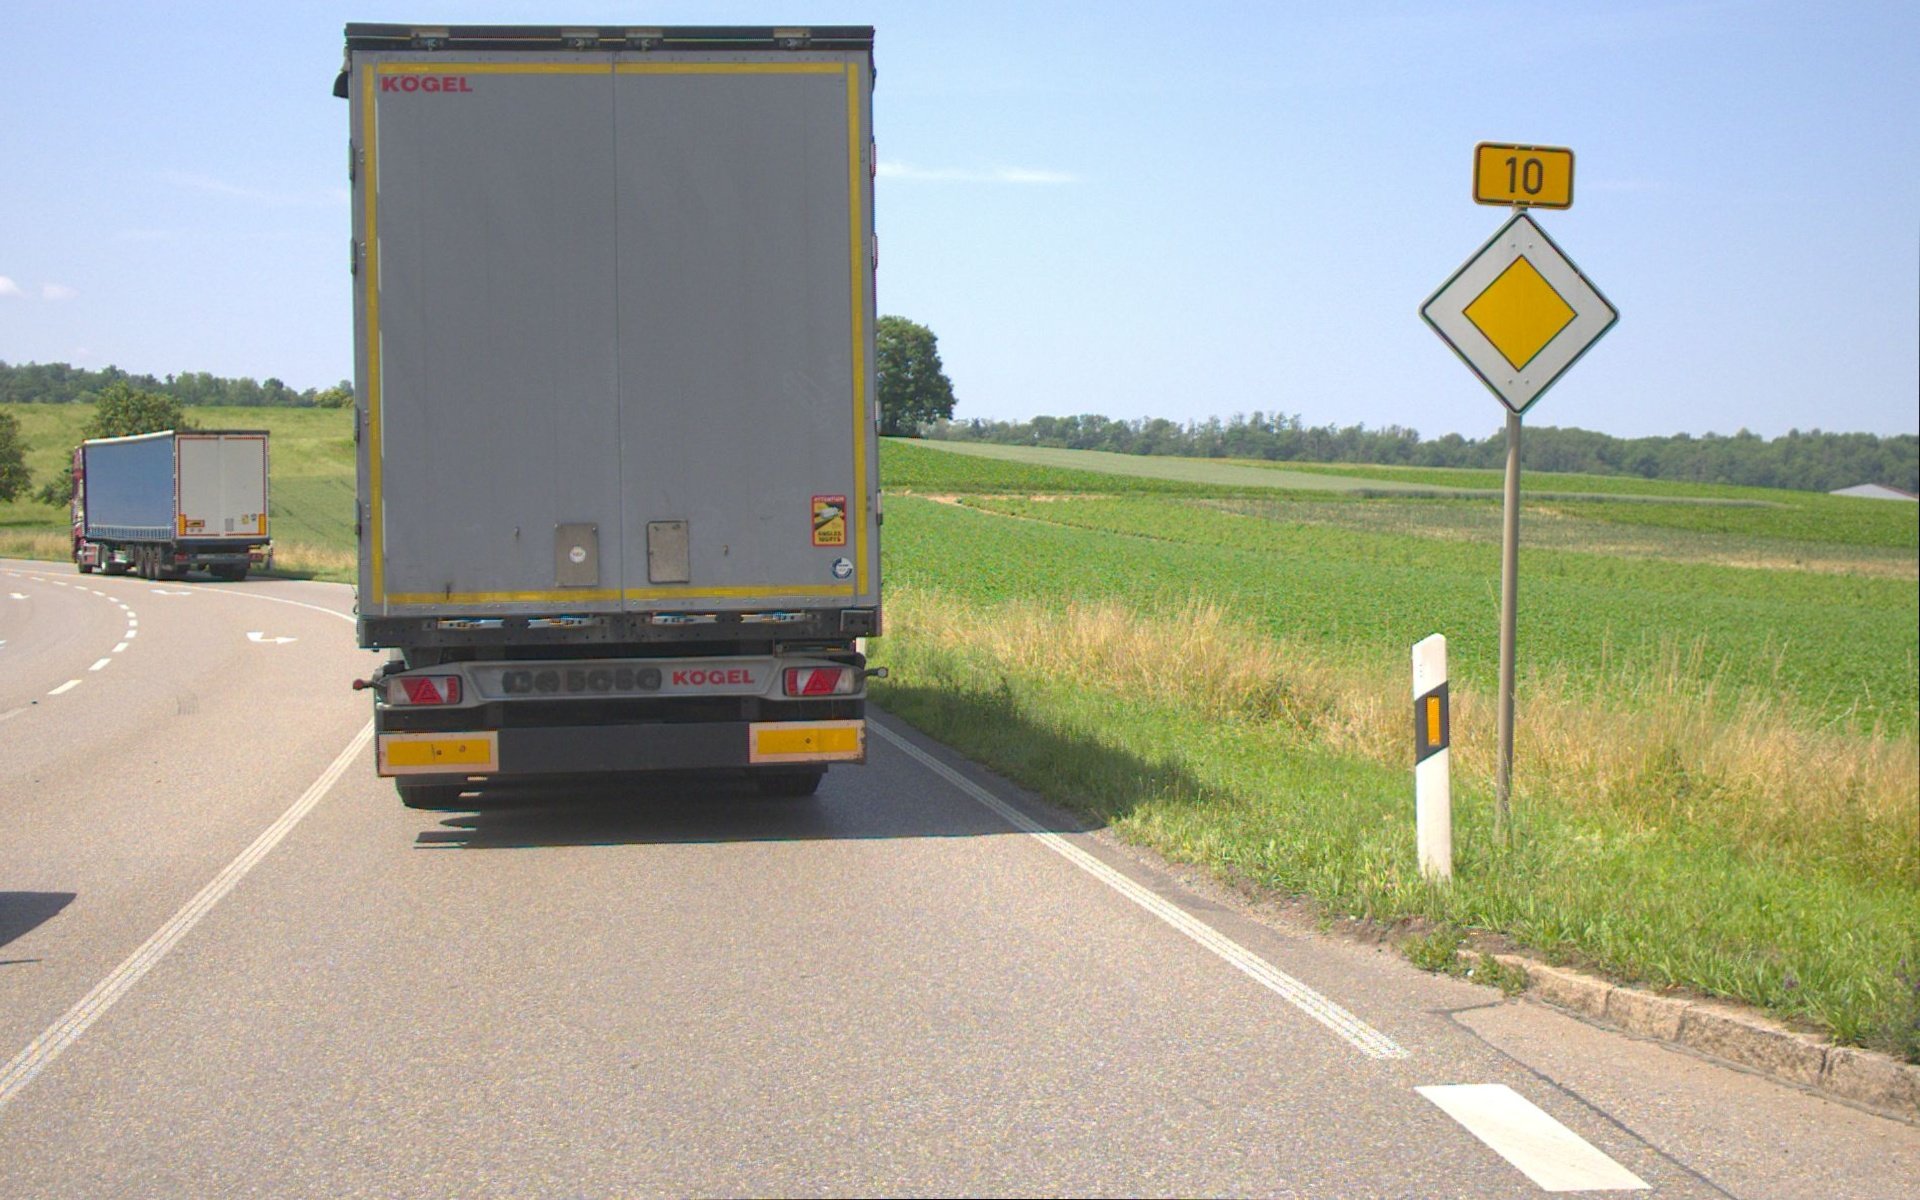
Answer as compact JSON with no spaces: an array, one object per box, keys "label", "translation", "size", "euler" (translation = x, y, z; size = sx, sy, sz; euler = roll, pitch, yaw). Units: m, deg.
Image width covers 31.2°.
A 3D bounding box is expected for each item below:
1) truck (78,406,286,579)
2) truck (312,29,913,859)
[{"label":"truck","translation":[-22.554,-3.138,98.724],"size":[2.960,4.568,16.321],"euler":[0,2,-23]},{"label":"truck","translation":[-2.351,-0.851,21.246],"size":[2.807,3.932,9.593],"euler":[-1,1,-8]}]
